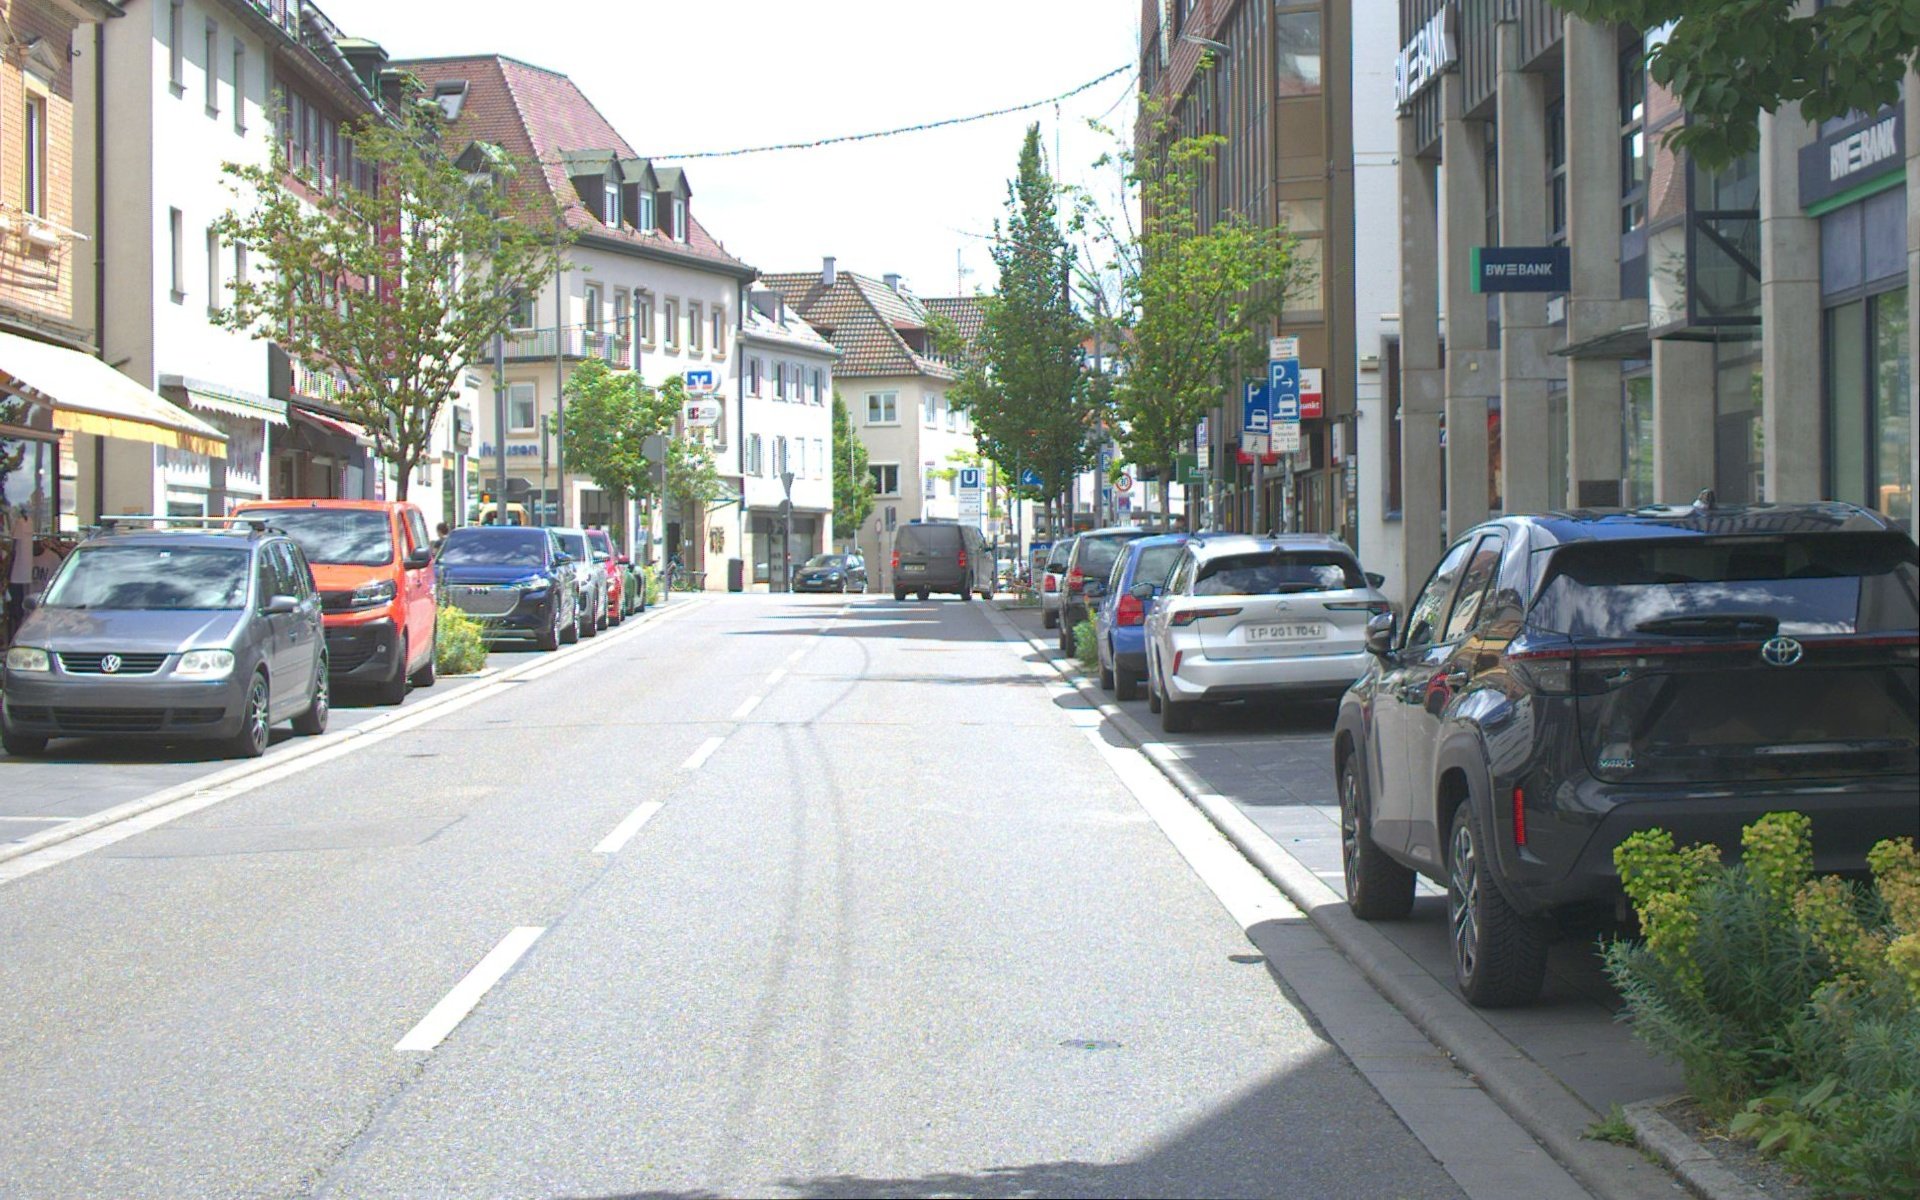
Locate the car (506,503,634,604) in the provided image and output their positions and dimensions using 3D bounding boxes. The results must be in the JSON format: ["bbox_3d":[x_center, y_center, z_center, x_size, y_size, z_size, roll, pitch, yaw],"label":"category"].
[{"bbox_3d":[-6.410,-0.790,56.920,1.799,1.598,4.219,-1,1,-2],"label":"car"}]

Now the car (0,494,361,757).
[{"bbox_3d":[-5.782,0.157,25.516,1.816,1.749,4.464,1,0,1],"label":"car"}]

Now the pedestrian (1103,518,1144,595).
[{"bbox_3d":[3.454,-0.922,72.774,0.784,1.610,0.800,1,0,0],"label":"pedestrian"}]

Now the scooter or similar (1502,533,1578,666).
[{"bbox_3d":[5.578,-0.009,33.124,0.422,1.241,1.561,1,0,-1],"label":"scooter or similar"}]

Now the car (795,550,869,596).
[{"bbox_3d":[-4.244,-0.891,114.256,1.625,1.481,3.803,1,0,11],"label":"car"}]

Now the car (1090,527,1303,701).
[{"bbox_3d":[2.152,0.106,32.206,1.721,1.488,4.109,1,0,1],"label":"car"}]

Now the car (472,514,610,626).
[{"bbox_3d":[-6.229,-0.476,51.470,1.799,1.598,4.352,-1,1,-4],"label":"car"}]

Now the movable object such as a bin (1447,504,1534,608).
[{"bbox_3d":[7.951,-0.663,51.572,1.142,1.522,1.032,1,0,2],"label":"movable object such as a bin"}]

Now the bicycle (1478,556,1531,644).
[{"bbox_3d":[7.071,-0.007,44.696,0.425,1.115,1.741,1,0,1],"label":"bicycle"}]

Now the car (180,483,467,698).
[{"bbox_3d":[-6.010,-0.100,32.999,1.816,1.882,4.841,1,0,0],"label":"car"}]

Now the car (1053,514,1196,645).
[{"bbox_3d":[2.011,-0.282,42.789,1.609,1.527,3.795,-1,1,1],"label":"car"}]

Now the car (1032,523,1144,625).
[{"bbox_3d":[2.018,-0.440,54.889,1.609,1.490,3.795,-4,1,1],"label":"car"}]

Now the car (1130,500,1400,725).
[{"bbox_3d":[2.278,0.073,26.680,1.721,1.571,4.428,1,0,1],"label":"car"}]

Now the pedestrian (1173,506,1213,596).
[{"bbox_3d":[4.761,-1.002,70.187,0.737,1.808,0.711,1,0,0],"label":"pedestrian"}]

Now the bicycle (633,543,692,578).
[{"bbox_3d":[-8.788,-1.166,101.541,1.633,1.027,0.567,1,0,15],"label":"bicycle"}]

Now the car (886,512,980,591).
[{"bbox_3d":[-0.702,-1.172,83.975,2.040,1.842,5.000,1,0,-3],"label":"car"}]

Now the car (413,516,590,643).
[{"bbox_3d":[-6.036,-0.305,45.713,1.799,1.592,4.389,0,1,0],"label":"car"}]

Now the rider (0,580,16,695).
[{"bbox_3d":[-8.849,0.325,30.181,0.804,1.010,0.706,1,0,21],"label":"rider"}]

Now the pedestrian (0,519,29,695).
[{"bbox_3d":[-8.939,0.056,30.813,0.806,1.569,0.778,1,0,23],"label":"pedestrian"}]

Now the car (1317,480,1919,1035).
[{"bbox_3d":[2.308,0.441,11.946,1.721,1.571,4.109,1,0,1],"label":"car"}]
